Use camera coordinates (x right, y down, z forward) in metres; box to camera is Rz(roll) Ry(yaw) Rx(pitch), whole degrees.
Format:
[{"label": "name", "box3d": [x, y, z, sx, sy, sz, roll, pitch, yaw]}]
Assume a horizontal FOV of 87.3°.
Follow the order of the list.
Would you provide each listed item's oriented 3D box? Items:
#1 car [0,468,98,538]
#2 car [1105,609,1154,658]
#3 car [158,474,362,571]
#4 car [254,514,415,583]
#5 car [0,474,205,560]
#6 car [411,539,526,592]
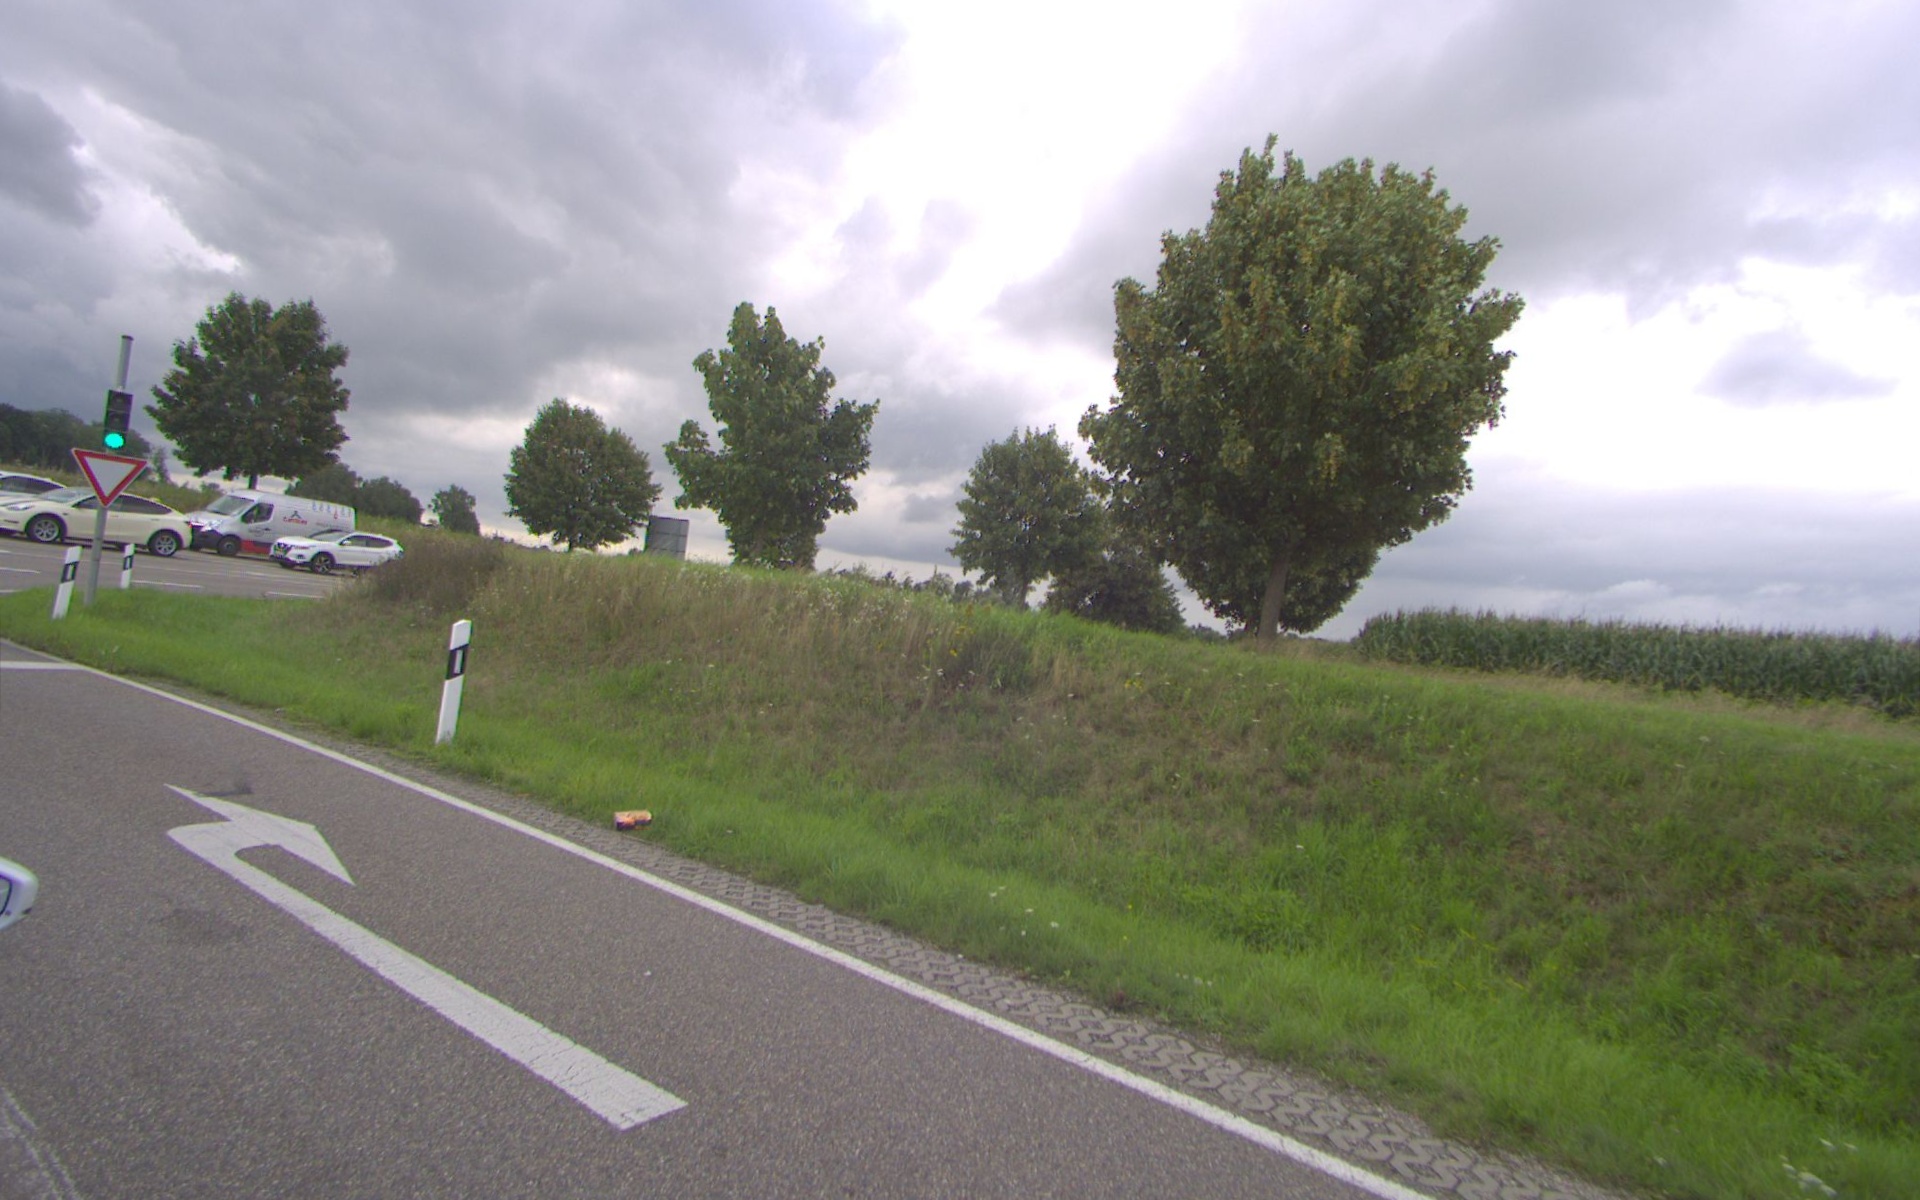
[{"label": "car", "box3d": [-27.678, -2.969, 28.609, 1.963, 1.647, 4.278, 7, -2, 19]}, {"label": "car", "box3d": [8.279, 1.678, 48.878, 1.962, 2.036, 4.006, 7, -2, 12]}, {"label": "car", "box3d": [-25.210, -2.713, 36.566, 2.354, 2.469, 5.517, 7, -2, 20]}, {"label": "car", "box3d": [-21.580, -1.719, 34.934, 1.963, 1.648, 4.326, 7, -2, 20]}, {"label": "car", "box3d": [-23.990, -2.272, 27.659, 1.963, 1.582, 4.752, 7, -2, 20]}, {"label": "car", "box3d": [-21.623, -1.483, 44.470, 1.963, 1.647, 4.278, 7, -2, 20]}]
